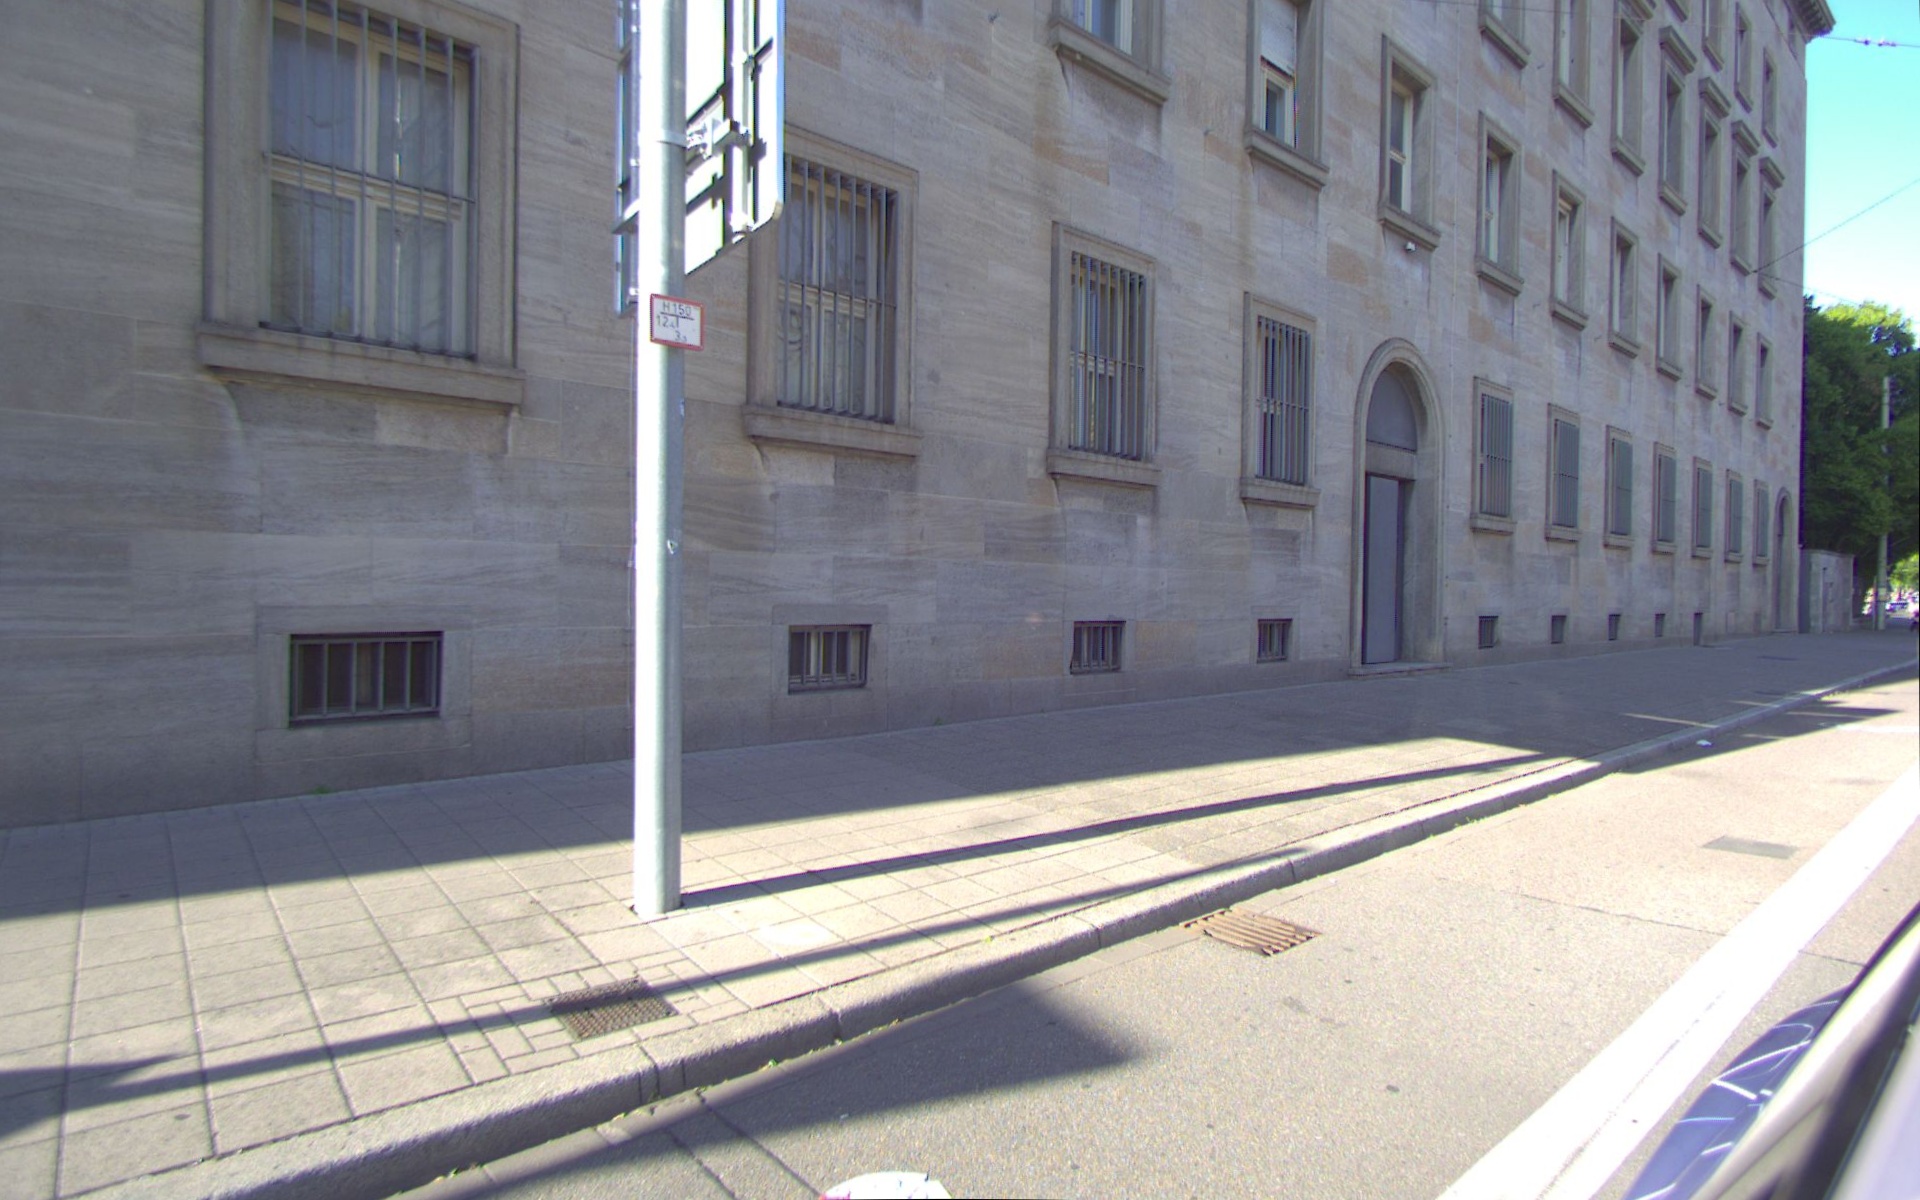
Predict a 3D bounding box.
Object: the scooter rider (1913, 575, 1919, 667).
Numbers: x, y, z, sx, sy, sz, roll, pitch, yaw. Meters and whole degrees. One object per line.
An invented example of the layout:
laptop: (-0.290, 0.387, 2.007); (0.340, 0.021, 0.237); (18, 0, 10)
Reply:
scooter rider: (18.135, 0.397, 18.676); (0.547, 1.692, 0.730); (0, 1, -42)
